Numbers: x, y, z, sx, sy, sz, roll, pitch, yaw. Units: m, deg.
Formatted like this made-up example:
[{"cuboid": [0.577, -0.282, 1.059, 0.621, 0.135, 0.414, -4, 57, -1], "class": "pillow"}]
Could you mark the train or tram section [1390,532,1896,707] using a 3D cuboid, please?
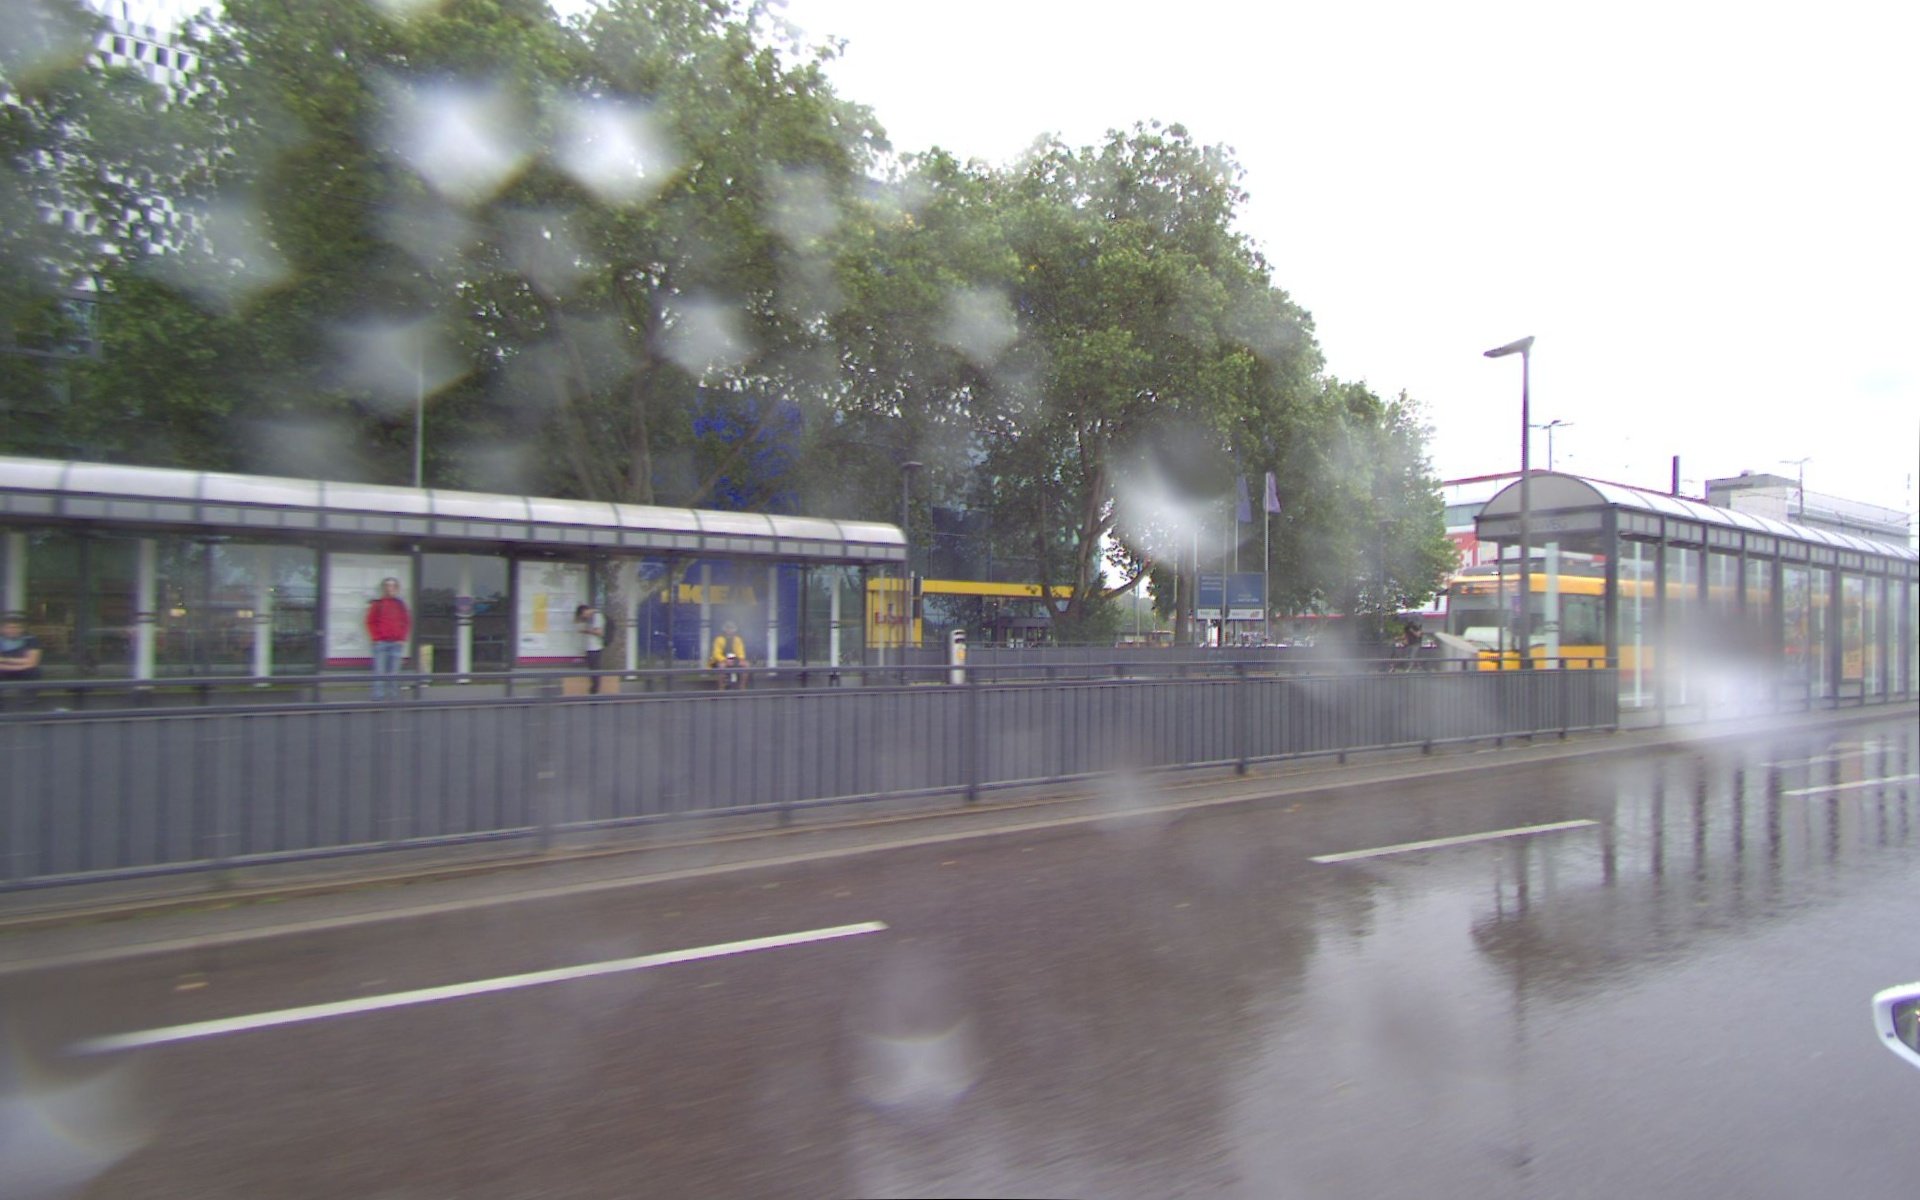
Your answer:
[{"cuboid": [23.621, 0.765, 32.550, 26.808, 4.090, 3.747, 2, 0, -34], "class": "train or tram section"}]

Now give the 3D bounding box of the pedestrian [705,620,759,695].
[{"cuboid": [-4.173, 1.048, 18.384, 0.804, 1.320, 0.640, 1, 0, -28], "class": "pedestrian"}]

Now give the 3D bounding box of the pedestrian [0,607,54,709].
[{"cuboid": [-12.185, 0.736, 12.916, 0.655, 1.284, 0.491, 1, 0, -28], "class": "pedestrian"}]

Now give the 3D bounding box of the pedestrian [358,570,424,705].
[{"cuboid": [-8.537, 0.552, 15.098, 0.804, 1.959, 0.618, 1, 0, -28], "class": "pedestrian"}]

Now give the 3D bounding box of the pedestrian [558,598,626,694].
[{"cuboid": [-6.242, 0.767, 17.057, 0.811, 1.582, 0.673, 2, 0, 14], "class": "pedestrian"}]

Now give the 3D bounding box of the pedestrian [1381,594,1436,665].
[{"cuboid": [13.390, 0.867, 30.005, 1.086, 2.040, 1.080, 1, 0, -36], "class": "pedestrian"}]
